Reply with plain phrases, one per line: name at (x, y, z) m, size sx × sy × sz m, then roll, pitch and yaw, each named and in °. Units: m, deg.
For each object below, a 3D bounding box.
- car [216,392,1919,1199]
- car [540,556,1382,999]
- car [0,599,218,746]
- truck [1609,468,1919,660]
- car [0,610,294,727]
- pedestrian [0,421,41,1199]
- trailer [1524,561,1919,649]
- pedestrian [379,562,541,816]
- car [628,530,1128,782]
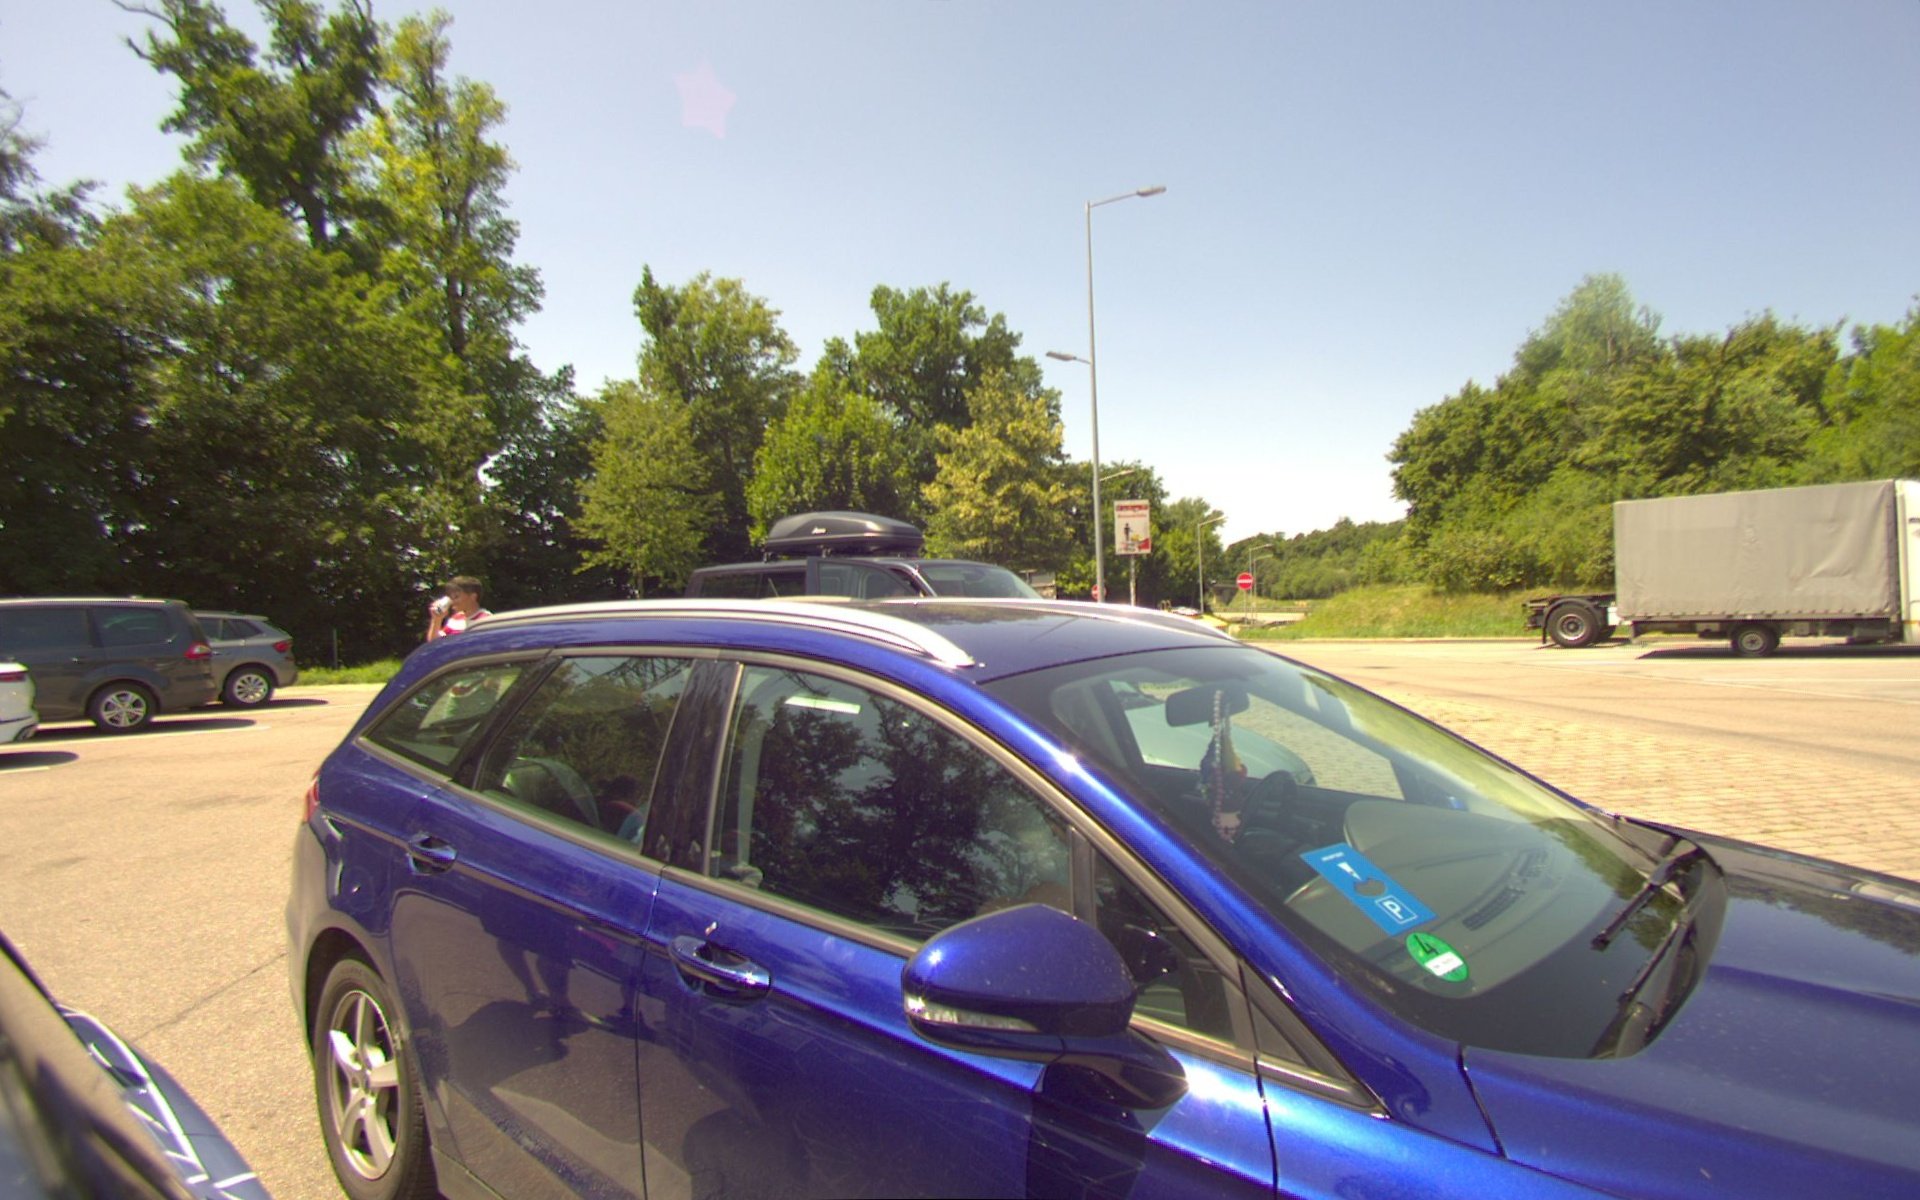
car at (0.231, 0.635, 2.064) m, size 4.569 × 1.482 × 1.735 m, roll -3°, pitch 0°, yaw 40°
car at (-0.324, 0.671, 5.601) m, size 4.569 × 1.517 × 1.735 m, roll -3°, pitch 0°, yaw 40°
car at (-11.634, 0.868, 12.646) m, size 3.767 × 1.708 × 1.654 m, roll -1°, pitch 0°, yaw -38°
truck at (16.778, -0.645, 19.004) m, size 7.274 × 3.269 × 2.678 m, roll -4°, pitch -1°, yaw 42°
car at (-12.626, 0.972, 15.653) m, size 3.767 × 1.572 × 1.654 m, roll -1°, pitch 0°, yaw -38°
pedestrian at (-2.729, 0.522, 2.233) m, size 0.905 × 1.919 × 0.816 m, roll -1°, pitch 0°, yaw -33°
trailer at (17.702, 0.160, 23.102) m, size 8.098 × 1.638 × 2.187 m, roll -4°, pitch -1°, yaw 41°
pedestrian at (-3.721, 0.619, 7.561) m, size 0.751 × 1.767 × 0.778 m, roll -1°, pitch 0°, yaw 26°
car at (-0.895, 0.500, 9.650) m, size 4.558 × 1.912 × 1.740 m, roll -3°, pitch 0°, yaw 32°
